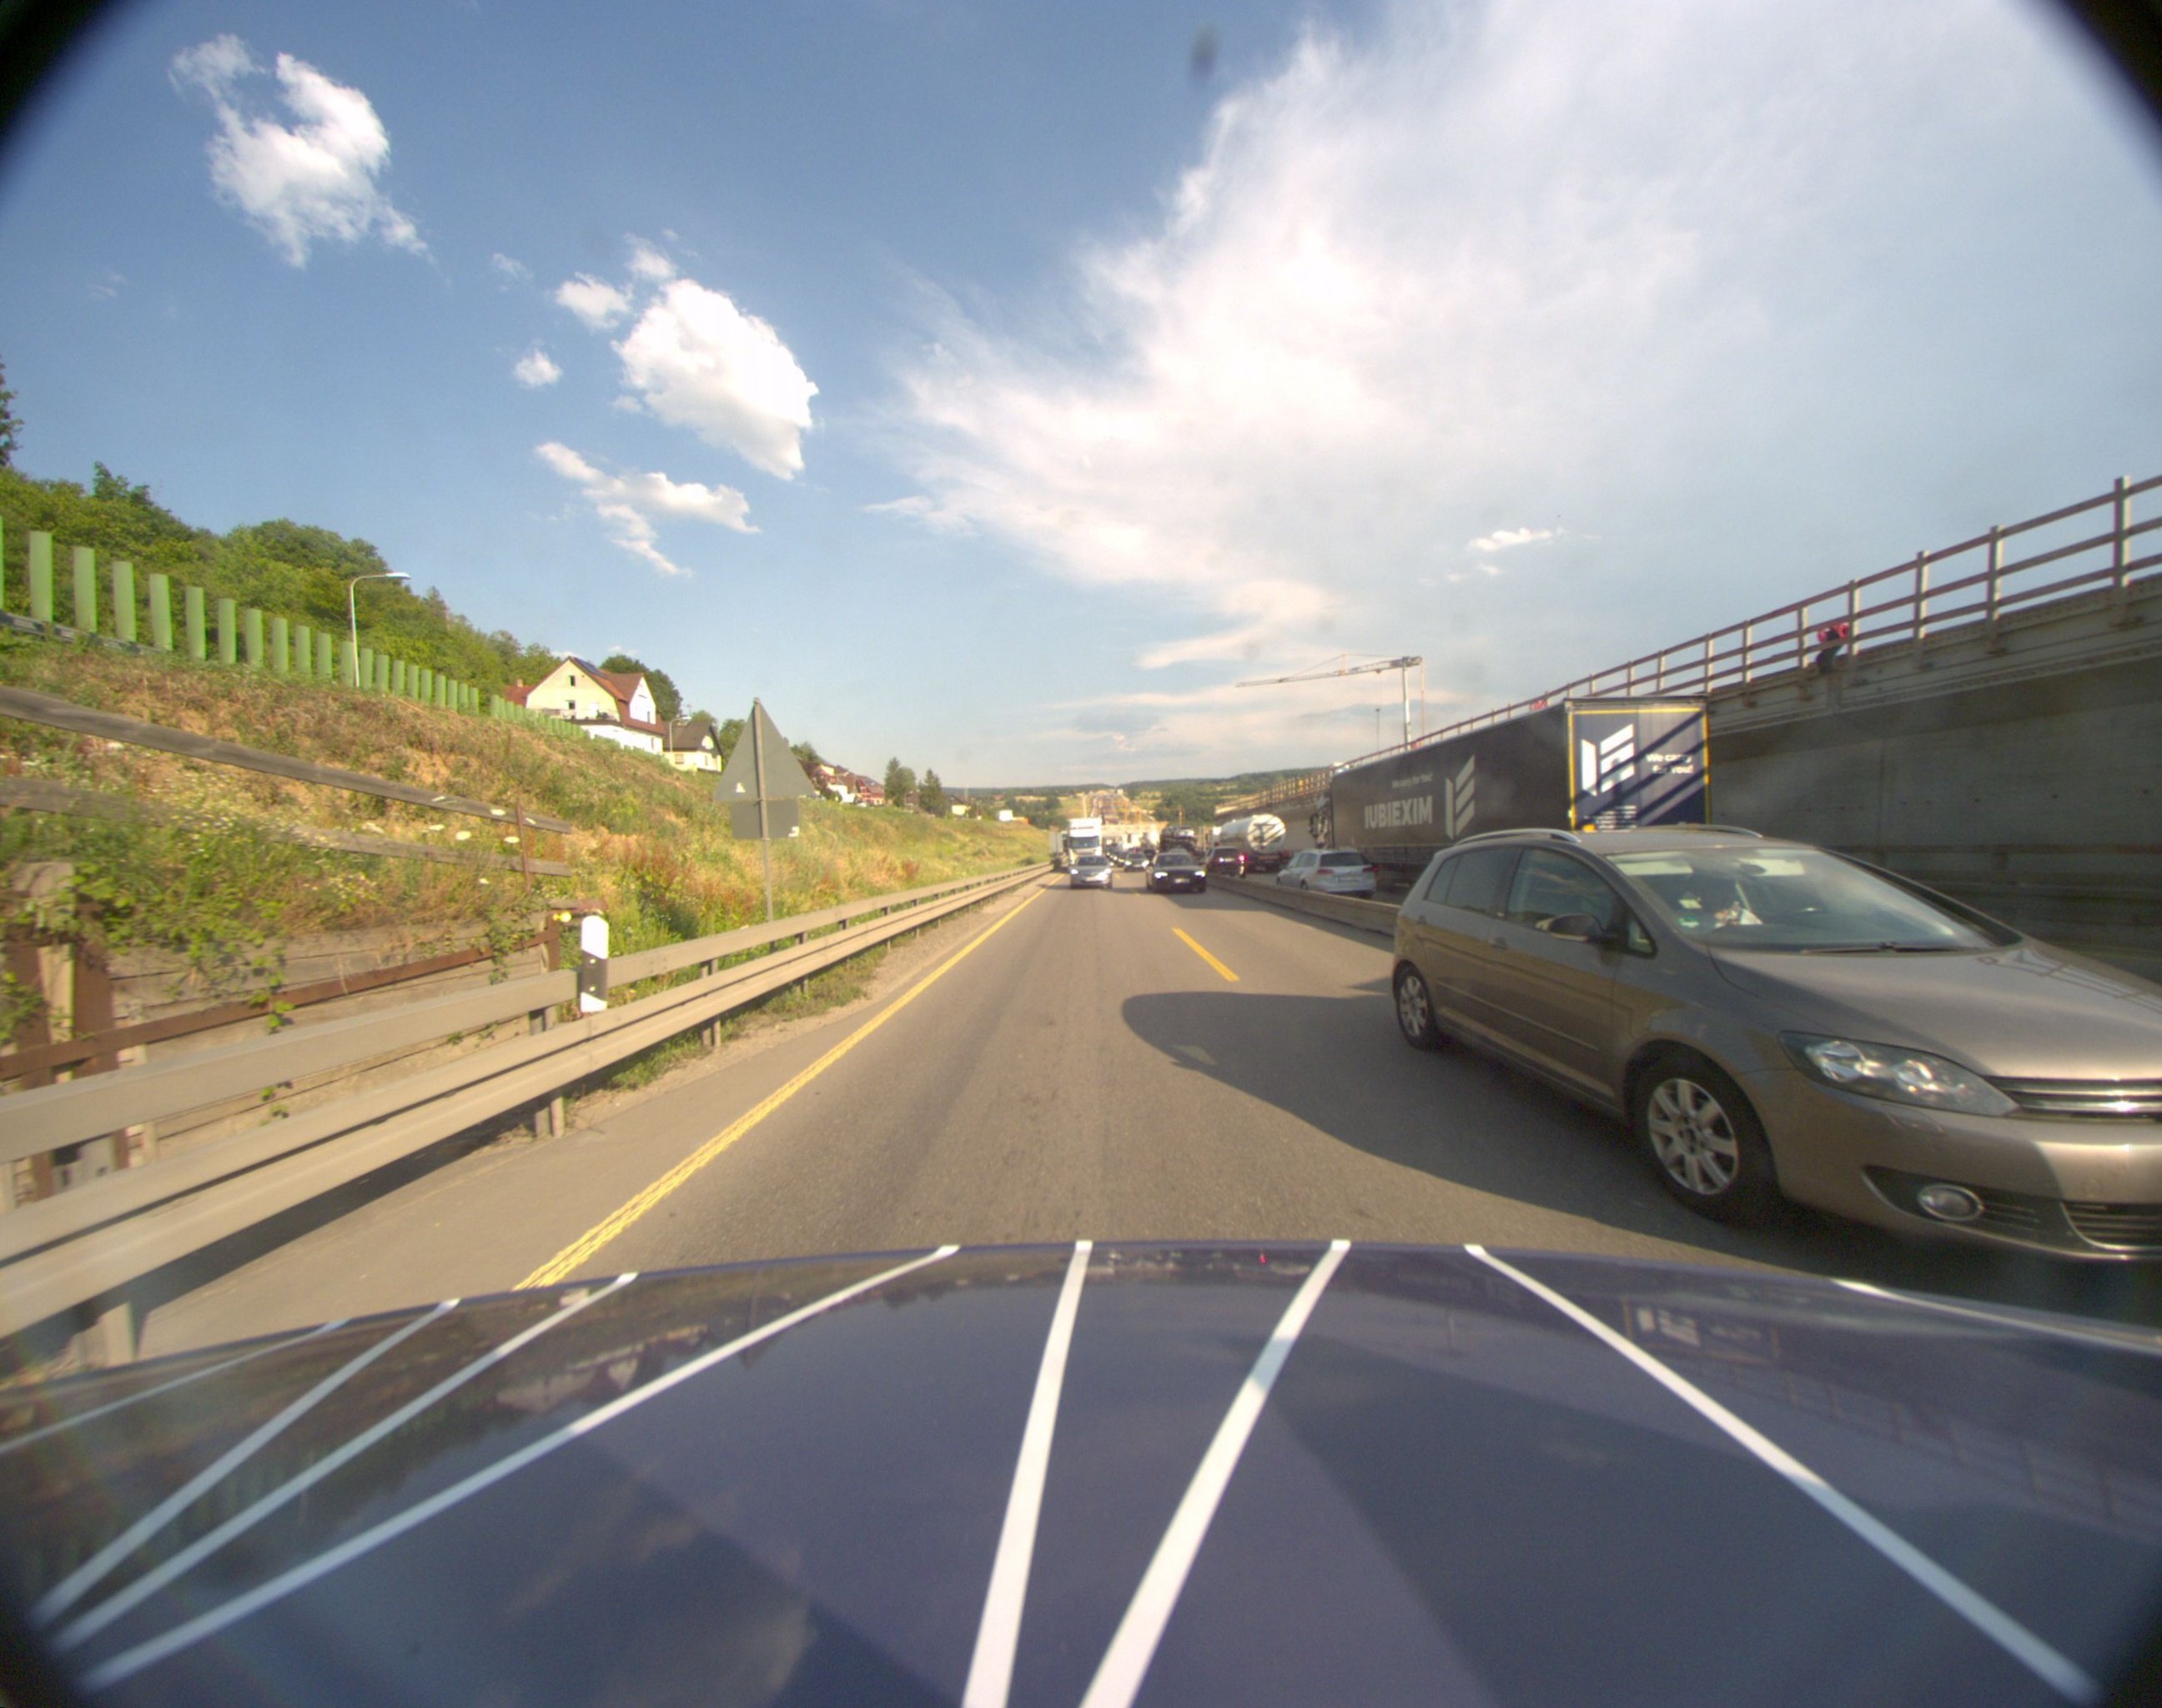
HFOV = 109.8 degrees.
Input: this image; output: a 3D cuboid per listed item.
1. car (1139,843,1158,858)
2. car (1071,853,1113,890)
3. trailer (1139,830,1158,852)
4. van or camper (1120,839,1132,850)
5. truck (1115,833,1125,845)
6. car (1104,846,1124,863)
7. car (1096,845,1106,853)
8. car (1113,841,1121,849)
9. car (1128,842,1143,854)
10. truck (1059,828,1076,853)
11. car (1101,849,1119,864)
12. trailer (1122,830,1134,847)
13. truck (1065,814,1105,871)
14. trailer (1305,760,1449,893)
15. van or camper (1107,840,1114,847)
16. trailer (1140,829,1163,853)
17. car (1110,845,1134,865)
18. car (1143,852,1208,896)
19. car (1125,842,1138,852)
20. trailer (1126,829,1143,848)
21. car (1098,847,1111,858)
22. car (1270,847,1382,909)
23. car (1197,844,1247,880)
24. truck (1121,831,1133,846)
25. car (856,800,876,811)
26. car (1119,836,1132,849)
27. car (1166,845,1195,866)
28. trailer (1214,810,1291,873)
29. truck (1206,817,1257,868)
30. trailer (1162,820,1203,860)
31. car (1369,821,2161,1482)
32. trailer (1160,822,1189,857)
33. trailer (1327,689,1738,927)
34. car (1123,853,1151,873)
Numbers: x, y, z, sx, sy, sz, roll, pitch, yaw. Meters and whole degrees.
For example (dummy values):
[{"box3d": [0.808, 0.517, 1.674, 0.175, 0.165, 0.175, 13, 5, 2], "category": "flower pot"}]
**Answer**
[{"box3d": [7.628, -0.435, 86.568, 1.770, 1.543, 4.835, -2, 1, 1], "category": "car"}, {"box3d": [0.472, 0.733, 32.846, 1.671, 1.425, 3.523, -1, 1, 1], "category": "car"}, {"box3d": [11.885, -2.325, 134.449, 2.659, 3.828, 6.428, -2, 1, 0], "category": "trailer"}, {"box3d": [8.537, -1.787, 144.154, 1.863, 2.002, 5.294, -2, 1, 0], "category": "van or camper"}, {"box3d": [13.434, -5.171, 260.856, 2.873, 4.038, 7.597, -2, 1, 1], "category": "truck"}, {"box3d": [3.349, 0.026, 78.134, 1.918, 1.746, 4.000, 0, 0, 0], "category": "car"}, {"box3d": [4.309, -1.020, 160.945, 1.998, 1.696, 3.999, -1, 1, 0], "category": "car"}, {"box3d": [9.003, -2.313, 192.282, 1.785, 1.833, 4.852, -2, 1, 1], "category": "car"}, {"box3d": [7.544, -0.867, 105.640, 1.761, 1.569, 4.338, -2, 1, 1], "category": "car"}, {"box3d": [-2.226, -2.257, 127.479, 2.547, 3.993, 6.070, -2, 1, 1], "category": "truck"}, {"box3d": [3.383, 0.270, 90.059, 1.918, 1.746, 4.000, 0, 0, 0], "category": "car"}, {"box3d": [12.997, -4.286, 210.020, 2.834, 4.259, 8.734, -2, 1, 1], "category": "trailer"}, {"box3d": [0.405, -0.933, 61.243, 2.741, 4.033, 12.668, -2, 1, 1], "category": "truck"}, {"box3d": [10.289, -0.873, 27.120, 2.771, 4.117, 5.976, -2, 0, 1], "category": "trailer"}, {"box3d": [8.728, -2.972, 221.542, 1.868, 1.882, 5.002, -2, 1, 1], "category": "van or camper"}, {"box3d": [11.823, -2.193, 128.184, 2.659, 3.828, 13.440, -2, 1, 0], "category": "trailer"}, {"box3d": [3.726, 0.080, 69.595, 1.998, 1.740, 3.999, -1, 1, 0], "category": "car"}, {"box3d": [3.411, 0.676, 28.184, 1.873, 1.411, 4.348, -1, 1, 1], "category": "car"}, {"box3d": [8.091, -1.107, 121.802, 1.713, 1.437, 4.599, -2, 1, 1], "category": "car"}, {"box3d": [12.052, -3.457, 170.846, 2.932, 4.014, 13.771, -2, 1, 1], "category": "trailer"}, {"box3d": [3.189, -0.183, 103.857, 1.720, 1.469, 3.727, -2, 0, 0], "category": "car"}, {"box3d": [6.689, 0.584, 21.235, 1.645, 1.451, 4.595, -2, 1, 0], "category": "car"}, {"box3d": [7.141, 0.352, 38.955, 1.645, 1.635, 4.688, -2, 1, 0], "category": "car"}, {"box3d": [13.146, -4.522, 219.411, 2.834, 4.239, 10.070, -2, 1, 1], "category": "truck"}, {"box3d": [-33.680, -7.570, 119.052, 1.998, 1.434, 3.999, -2, 1, 0], "category": "car"}, {"box3d": [9.360, -2.463, 159.888, 1.999, 2.608, 7.407, -2, 1, -2], "category": "car"}, {"box3d": [7.981, 0.122, 61.111, 1.730, 1.548, 4.297, -2, 0, 0], "category": "car"}, {"box3d": [10.674, -0.799, 48.490, 2.563, 3.506, 10.679, -2, 1, 1], "category": "trailer"}, {"box3d": [10.778, -0.867, 54.778, 2.555, 3.390, 5.530, -2, 1, 0], "category": "truck"}, {"box3d": [11.295, -1.617, 86.277, 2.778, 4.008, 15.760, -2, 1, 1], "category": "trailer"}, {"box3d": [3.142, 0.735, 3.949, 1.685, 1.579, 4.272, 1, 0, 0], "category": "car"}, {"box3d": [11.459, -1.777, 93.739, 2.778, 4.008, 7.206, -2, 1, 1], "category": "trailer"}, {"box3d": [10.244, -0.801, 20.410, 2.771, 4.117, 14.025, -2, 0, 1], "category": "trailer"}, {"box3d": [4.101, 0.672, 56.340, 1.692, 1.294, 3.882, -2, 1, -1], "category": "car"}]
